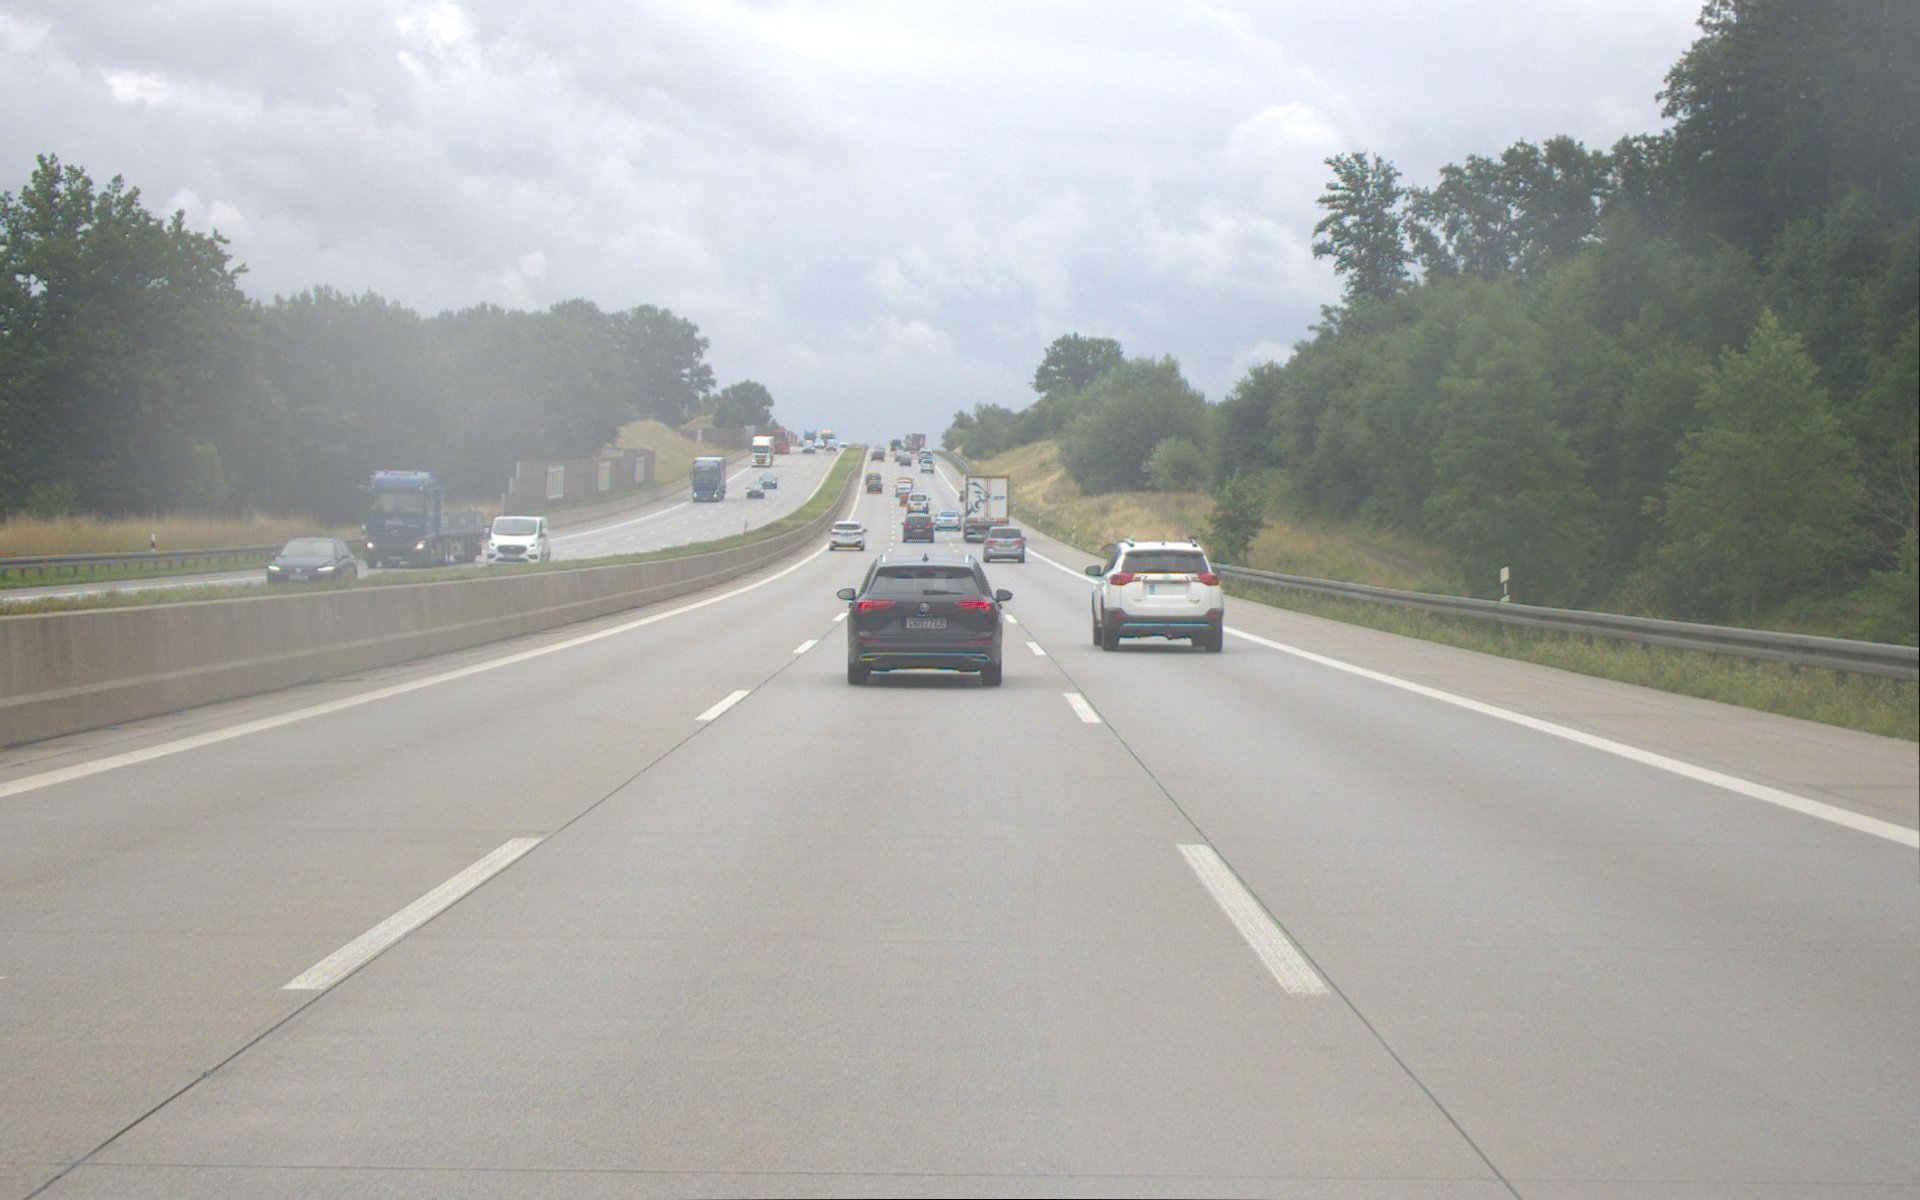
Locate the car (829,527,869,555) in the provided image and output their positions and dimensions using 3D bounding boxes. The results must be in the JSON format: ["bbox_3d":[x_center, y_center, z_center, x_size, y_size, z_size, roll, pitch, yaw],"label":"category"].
[{"bbox_3d":[-5.788,-3.093,179.751,1.947,1.351,4.259,0,0,0],"label":"car"}]

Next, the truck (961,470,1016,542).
[{"bbox_3d":[1.672,-5.733,207.860,3.017,4.166,8.355,1,2,-1],"label":"truck"}]

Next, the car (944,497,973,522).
[{"bbox_3d":[-0.106,-6.405,242.794,1.993,1.634,4.000,1,2,1],"label":"car"}]

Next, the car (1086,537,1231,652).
[{"bbox_3d":[2.986,-0.105,52.478,1.825,1.650,3.985,1,1,-2],"label":"car"}]

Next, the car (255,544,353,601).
[{"bbox_3d":[-16.755,-0.719,87.998,1.847,1.372,4.438,1,1,-3],"label":"car"}]

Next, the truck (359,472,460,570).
[{"bbox_3d":[-20.585,-2.938,128.883,2.756,3.504,6.641,1,1,-1],"label":"truck"}]

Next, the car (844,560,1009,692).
[{"bbox_3d":[-0.345,0.275,39.385,1.752,1.393,4.484,1,0,0],"label":"car"}]

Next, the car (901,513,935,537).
[{"bbox_3d":[-2.523,-4.491,205.907,1.935,1.370,4.595,1,1,0],"label":"car"}]

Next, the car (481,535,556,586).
[{"bbox_3d":[-16.233,-1.461,126.600,2.088,1.795,5.498,1,1,-1],"label":"car"}]

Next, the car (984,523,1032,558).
[{"bbox_3d":[2.143,-2.642,153.851,1.993,1.525,4.000,1,1,-1],"label":"car"}]

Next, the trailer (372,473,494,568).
[{"bbox_3d":[-20.670,-3.065,135.558,2.785,3.495,13.886,1,1,-1],"label":"trailer"}]
